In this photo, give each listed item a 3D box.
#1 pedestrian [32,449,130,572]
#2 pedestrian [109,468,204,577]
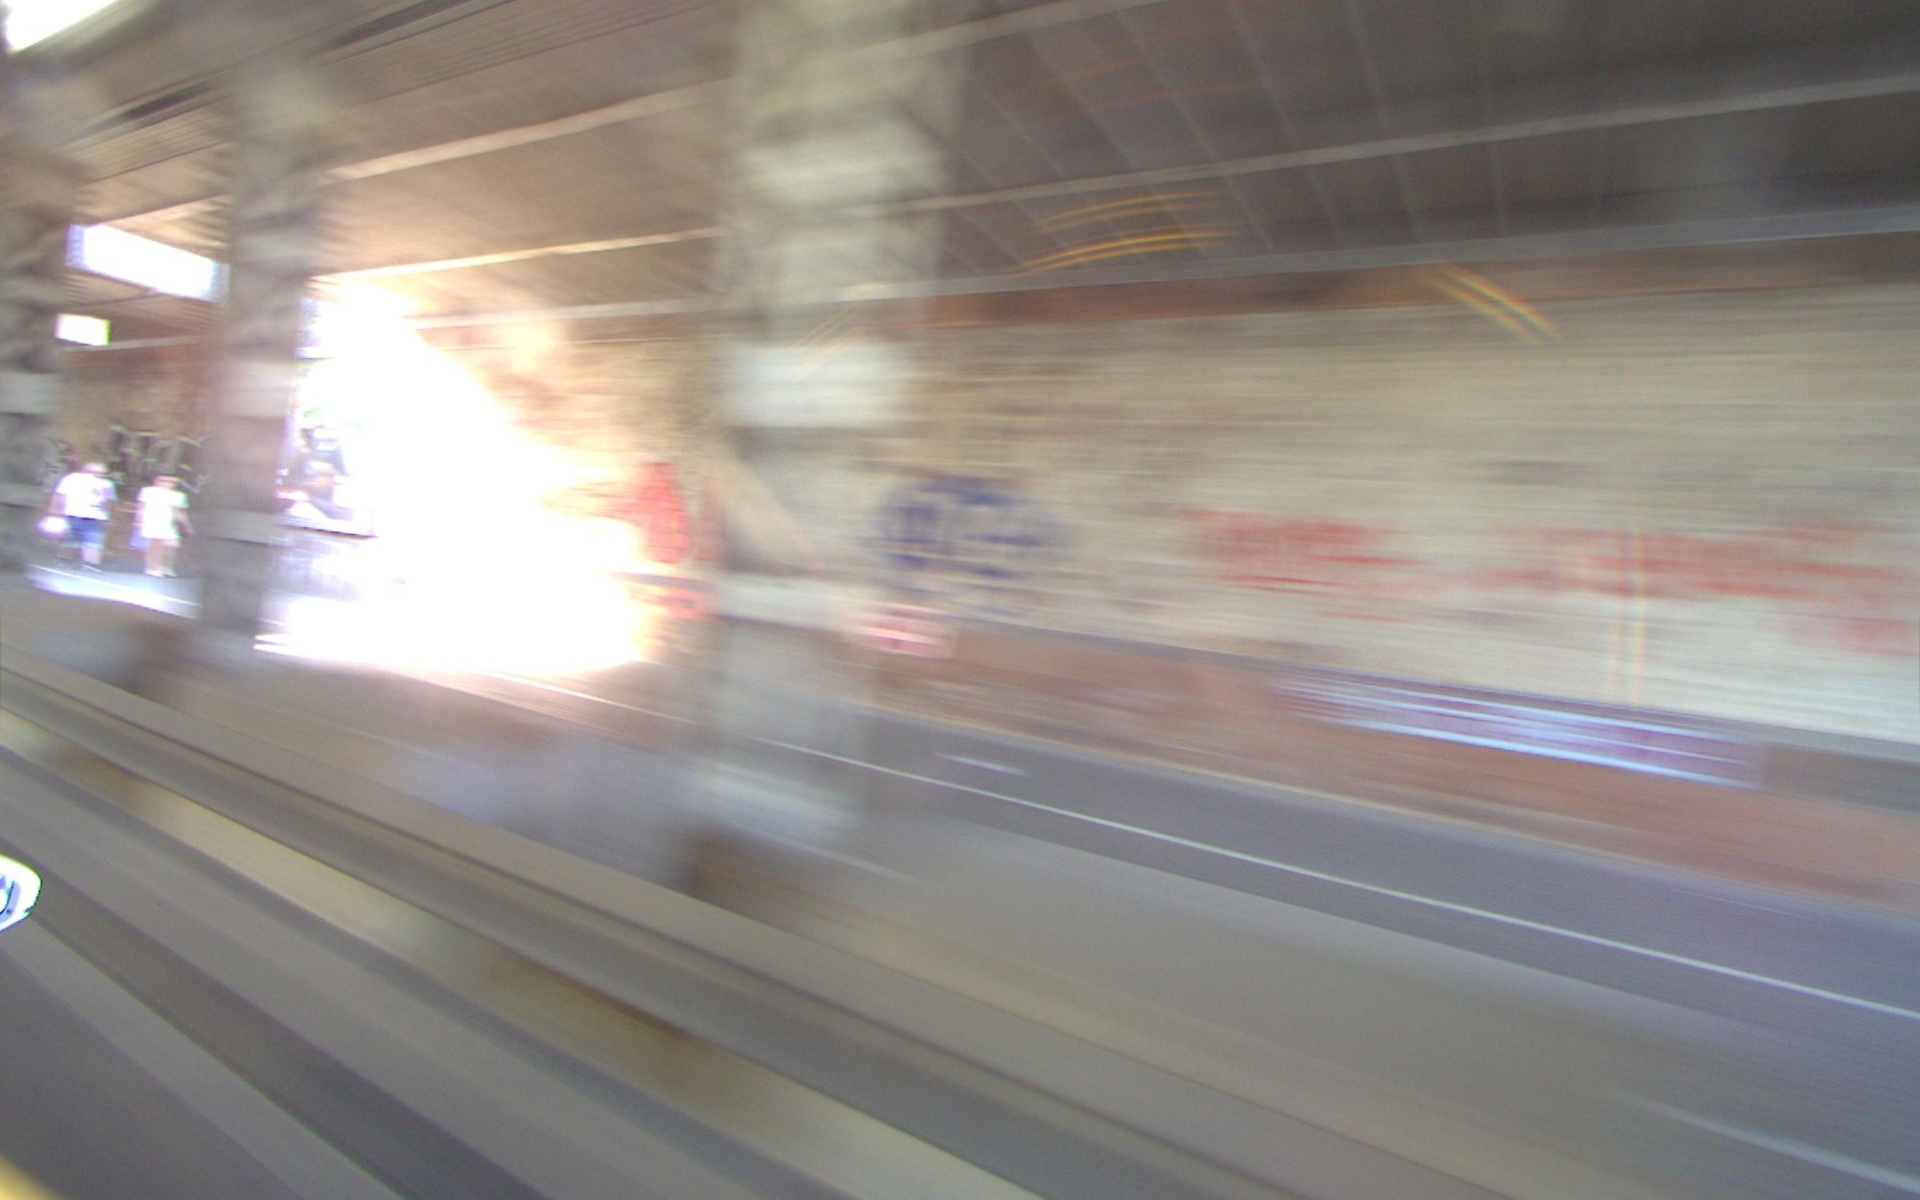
[{"bbox_3d":[-14.241,-1.440,16.307,0.907,1.860,0.880,7,4,28],"label":"pedestrian"},{"bbox_3d":[-13.389,-1.285,16.762,0.871,1.679,0.917,7,3,28],"label":"pedestrian"}]
